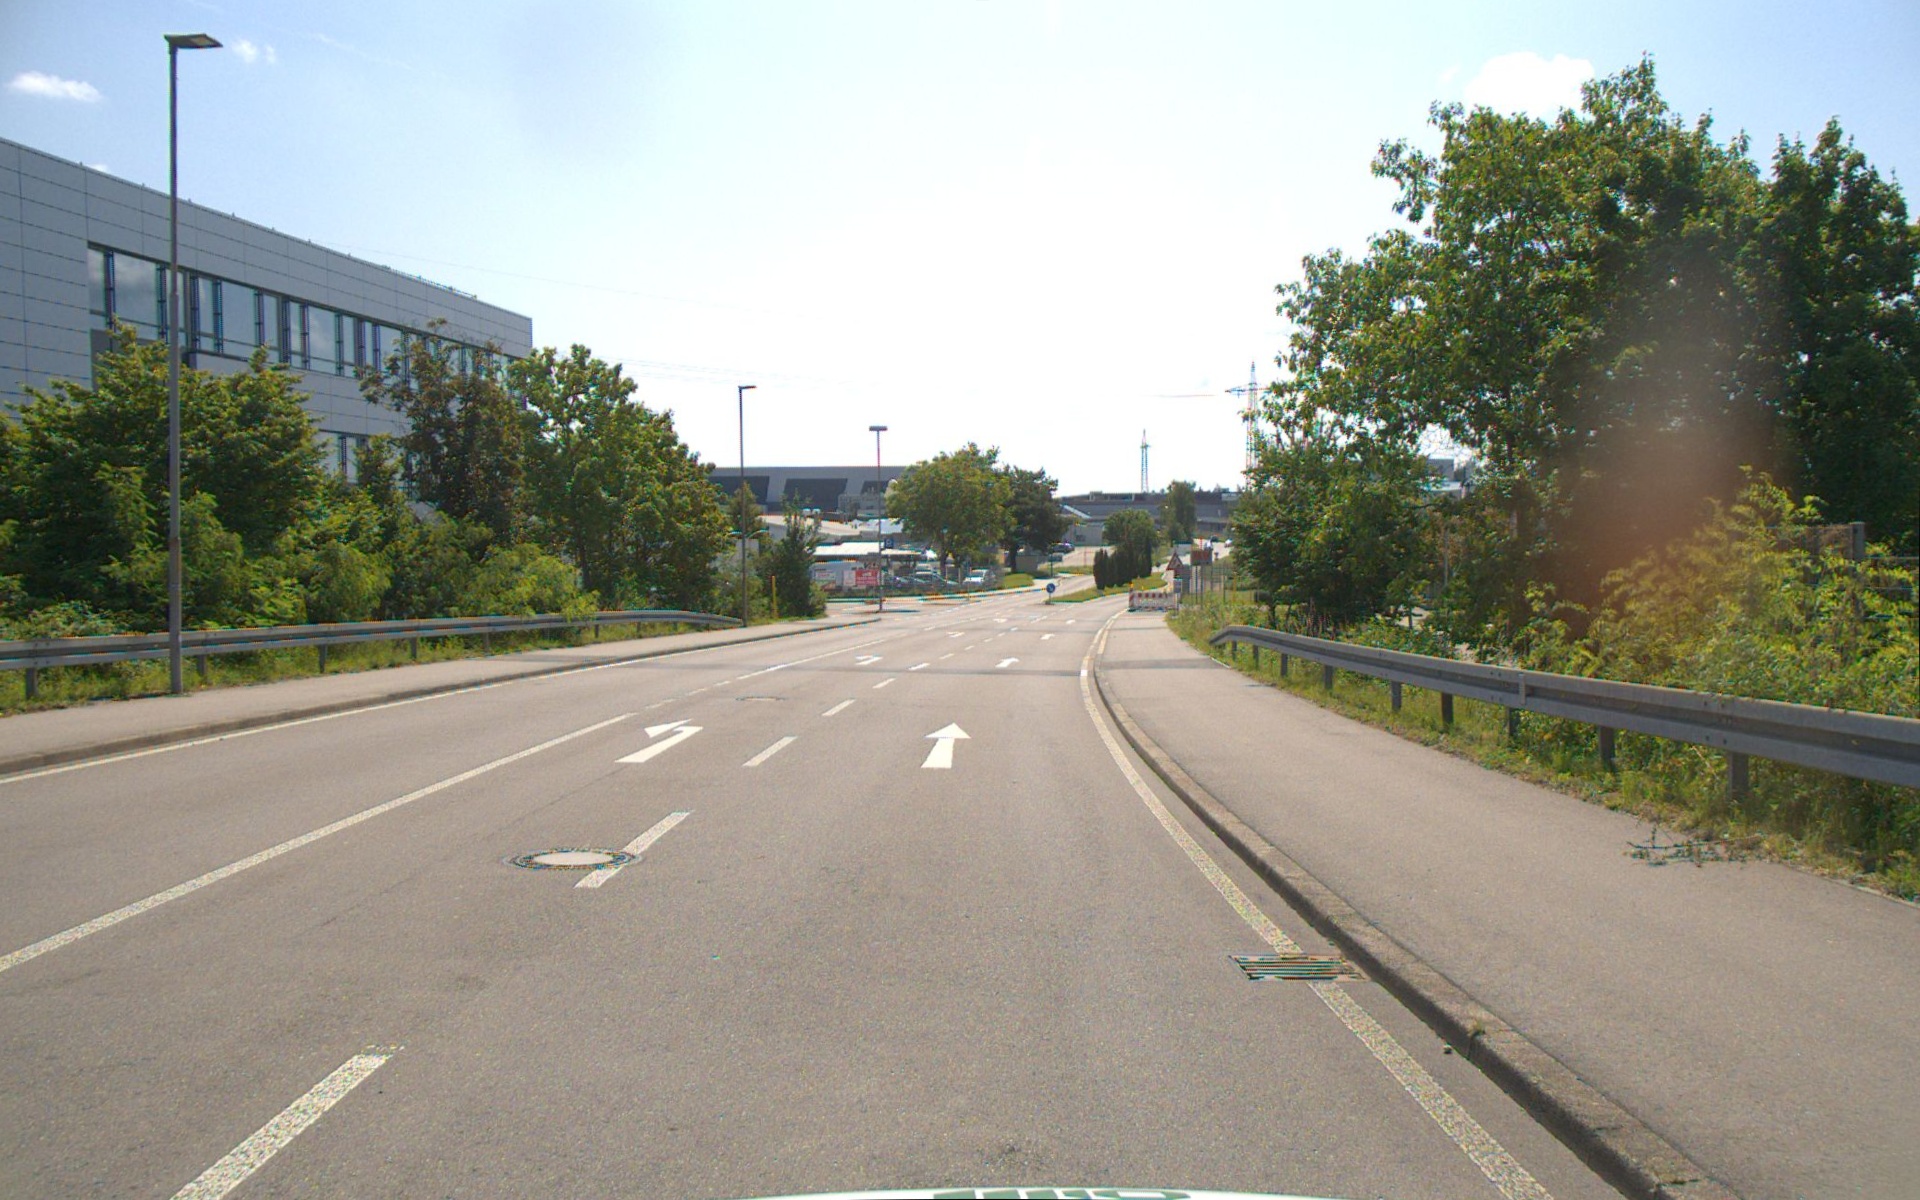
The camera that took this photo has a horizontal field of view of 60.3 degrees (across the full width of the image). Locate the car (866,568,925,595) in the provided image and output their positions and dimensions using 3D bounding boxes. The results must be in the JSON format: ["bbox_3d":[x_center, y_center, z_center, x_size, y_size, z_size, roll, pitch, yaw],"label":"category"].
[{"bbox_3d":[-4.724,-1.335,120.509,3.917,1.811,1.995,2,4,34],"label":"car"}]

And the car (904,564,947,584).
[{"bbox_3d":[-3.260,-2.427,154.822,3.909,1.882,1.833,0,1,-5],"label":"car"}]

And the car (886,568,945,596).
[{"bbox_3d":[-3.297,-1.351,122.439,3.917,1.936,1.995,2,4,34],"label":"car"}]

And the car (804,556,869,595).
[{"bbox_3d":[-8.733,-1.743,116.803,4.277,2.654,1.993,1,1,35],"label":"car"}]

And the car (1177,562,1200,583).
[{"bbox_3d":[23.490,-2.843,169.728,2.224,1.980,4.670,3,2,8],"label":"car"}]
